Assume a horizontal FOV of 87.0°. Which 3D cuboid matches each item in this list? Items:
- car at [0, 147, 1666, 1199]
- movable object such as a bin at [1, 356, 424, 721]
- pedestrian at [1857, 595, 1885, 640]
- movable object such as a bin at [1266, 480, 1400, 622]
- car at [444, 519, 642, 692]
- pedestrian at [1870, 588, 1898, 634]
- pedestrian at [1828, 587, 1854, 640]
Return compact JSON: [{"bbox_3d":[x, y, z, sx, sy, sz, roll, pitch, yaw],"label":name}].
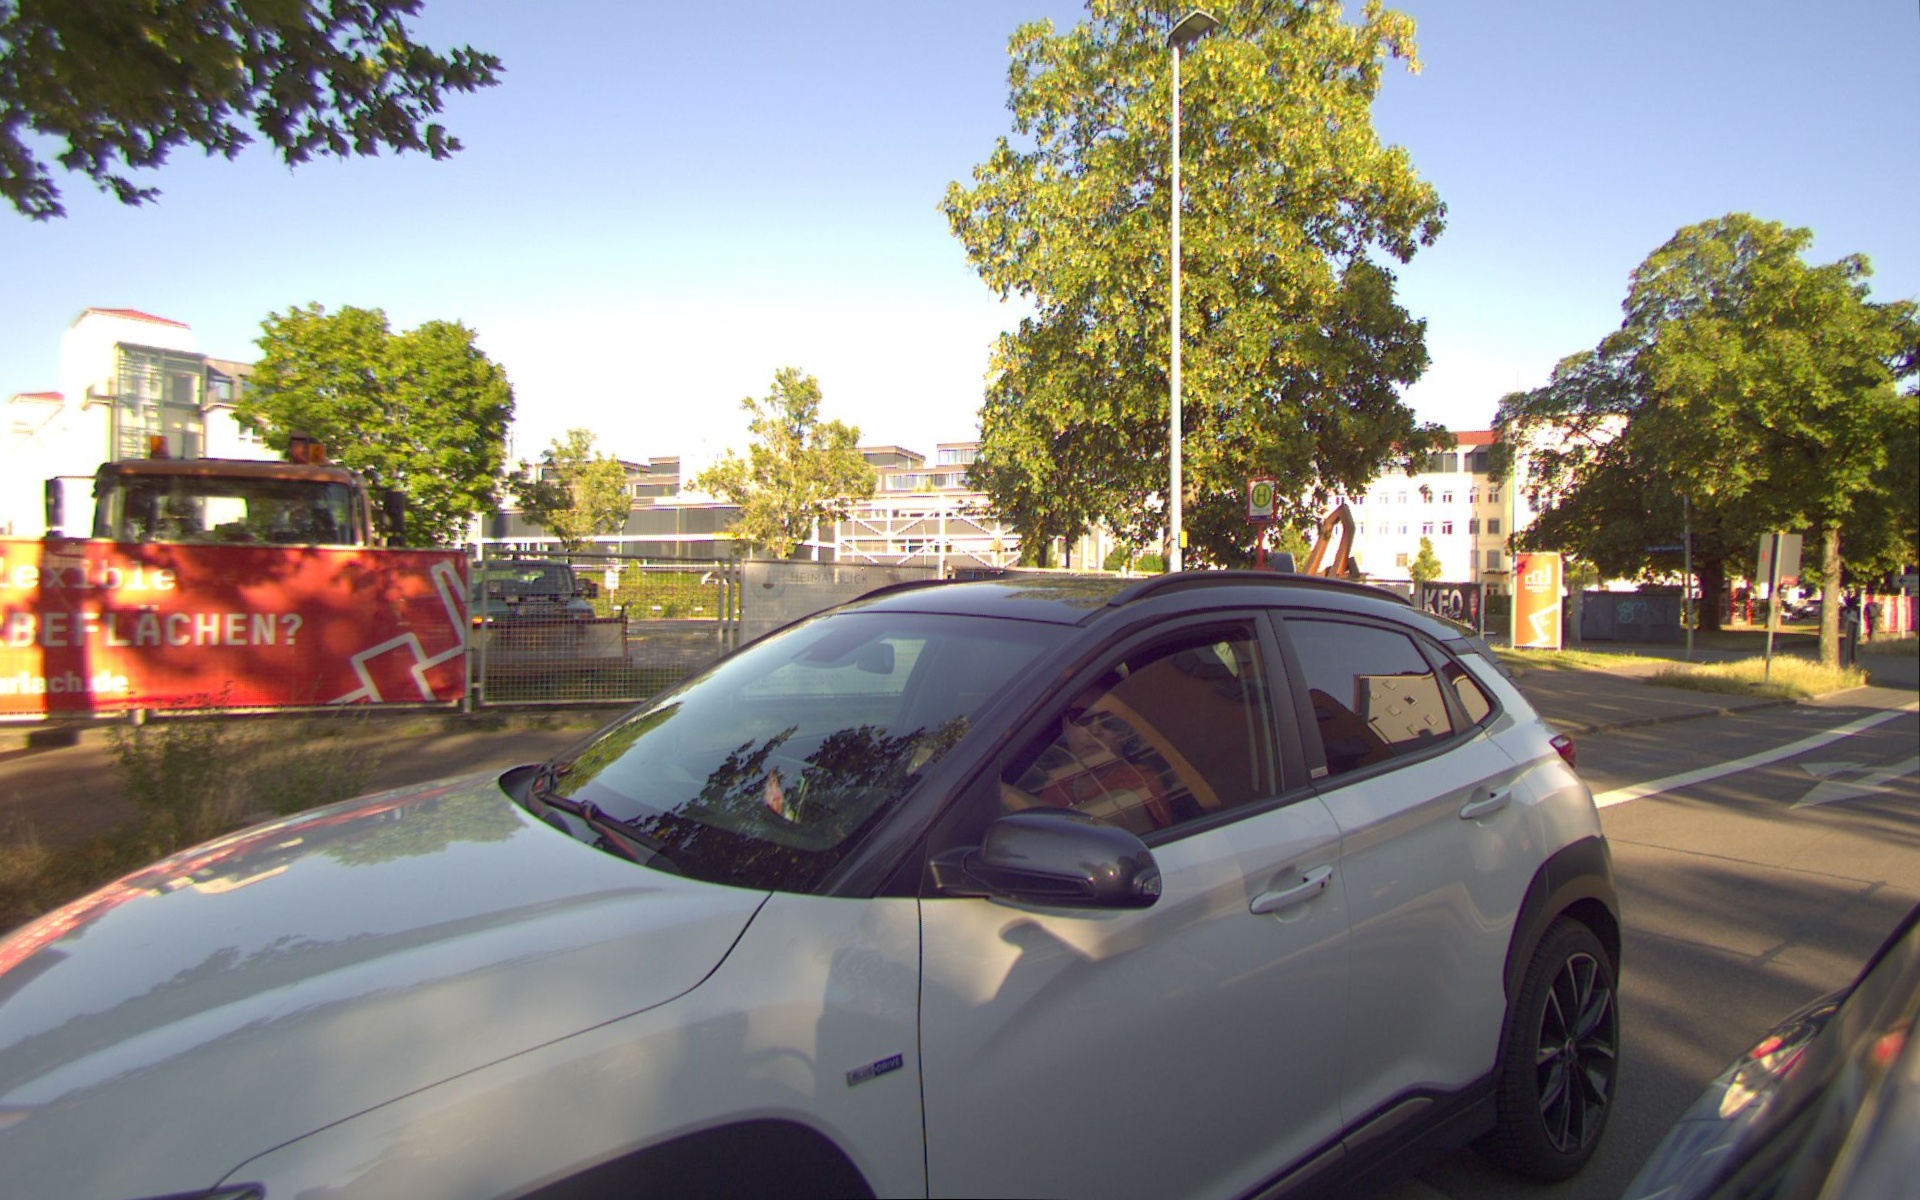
[{"bbox_3d":[-0.012,0.535,2.499,3.893,1.618,1.894,2,-2,-39],"label":"car"},{"bbox_3d":[-8.364,-0.554,12.075,3.154,3.087,6.295,0,0,-31],"label":"movable object such as a bin"},{"bbox_3d":[29.772,0.571,33.076,0.627,1.452,0.609,0,0,-40],"label":"pedestrian"},{"bbox_3d":[15.550,-1.930,42.780,3.910,5.547,6.022,0,0,6],"label":"movable object such as a bin"},{"bbox_3d":[-5.640,0.034,13.314,2.001,1.851,4.612,0,0,-28],"label":"car"},{"bbox_3d":[34.445,0.416,37.735,0.627,1.689,0.695,0,0,-39],"label":"pedestrian"},{"bbox_3d":[29.569,0.446,33.962,0.607,1.759,0.629,0,0,44],"label":"pedestrian"}]
